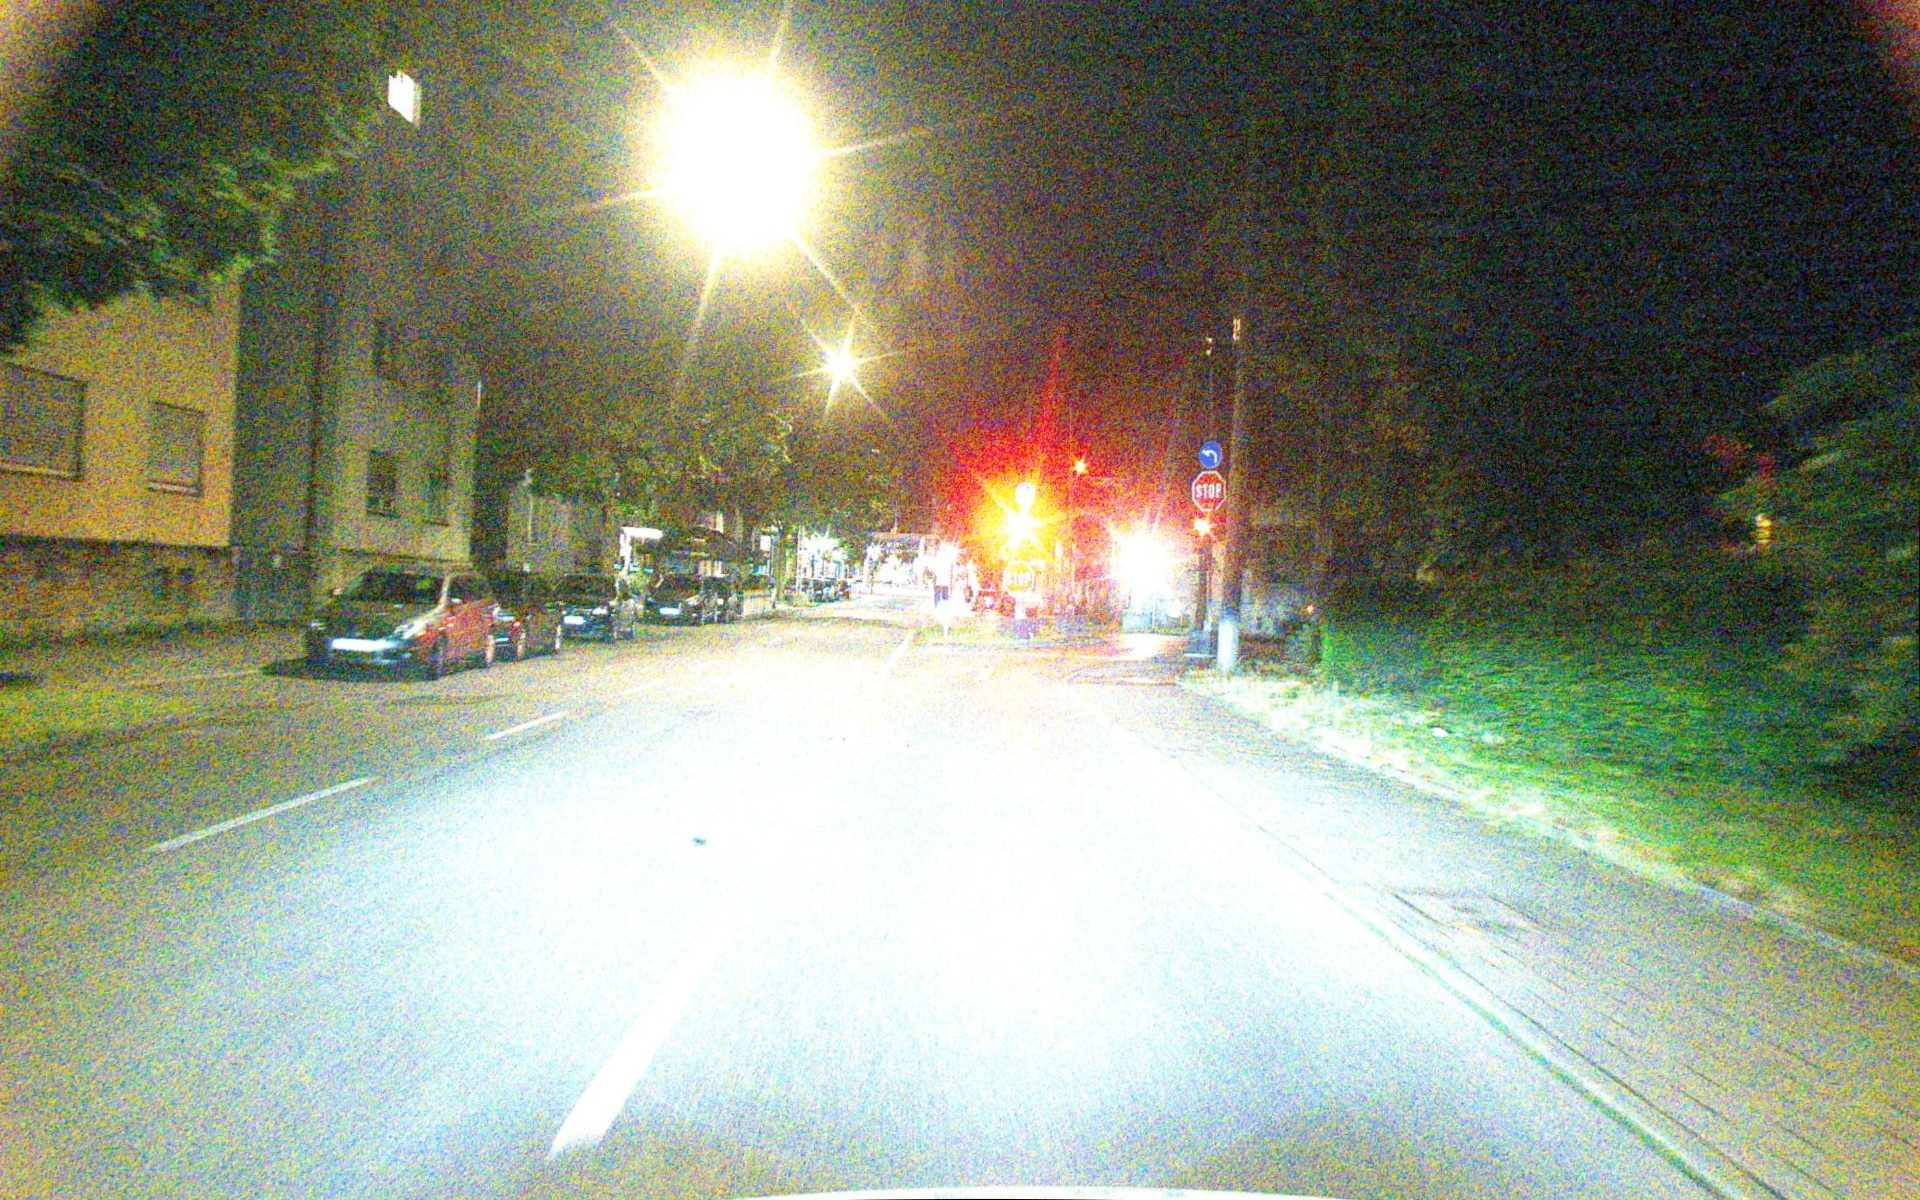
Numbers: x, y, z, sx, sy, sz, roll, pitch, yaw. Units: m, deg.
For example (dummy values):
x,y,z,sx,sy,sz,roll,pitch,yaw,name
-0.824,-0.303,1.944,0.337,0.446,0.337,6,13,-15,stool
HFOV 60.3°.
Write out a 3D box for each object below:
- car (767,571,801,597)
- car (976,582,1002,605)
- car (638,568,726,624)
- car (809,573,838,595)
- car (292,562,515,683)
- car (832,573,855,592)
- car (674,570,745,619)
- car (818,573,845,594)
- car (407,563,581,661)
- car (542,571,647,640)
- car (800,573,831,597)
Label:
x,y,z,sx,sy,sz,roll,pitch,yaw,name
-10.426,-0.940,98.057,1.618,1.456,4.000,1,1,-1,car
1.875,-0.430,108.654,1.617,1.456,4.000,1,1,1,car
-8.379,-0.148,50.236,1.861,1.497,4.452,4,1,-1,car
-9.232,-1.078,111.986,1.618,1.456,4.000,1,1,-1,car
-7.820,0.267,23.730,1.732,1.511,4.765,1,0,-3,car
-9.323,-1.416,132.607,1.618,1.456,4.000,1,1,-1,car
-8.322,-0.200,55.302,1.767,1.507,4.322,2,0,-2,car
-9.240,-1.189,118.872,1.618,1.456,4.000,1,1,-1,car
-7.992,0.173,28.811,1.732,1.511,4.862,1,0,-2,car
-8.142,0.099,37.149,1.590,1.407,4.449,1,0,-4,car
-9.237,-0.959,105.976,1.618,1.456,4.000,1,1,-1,car
